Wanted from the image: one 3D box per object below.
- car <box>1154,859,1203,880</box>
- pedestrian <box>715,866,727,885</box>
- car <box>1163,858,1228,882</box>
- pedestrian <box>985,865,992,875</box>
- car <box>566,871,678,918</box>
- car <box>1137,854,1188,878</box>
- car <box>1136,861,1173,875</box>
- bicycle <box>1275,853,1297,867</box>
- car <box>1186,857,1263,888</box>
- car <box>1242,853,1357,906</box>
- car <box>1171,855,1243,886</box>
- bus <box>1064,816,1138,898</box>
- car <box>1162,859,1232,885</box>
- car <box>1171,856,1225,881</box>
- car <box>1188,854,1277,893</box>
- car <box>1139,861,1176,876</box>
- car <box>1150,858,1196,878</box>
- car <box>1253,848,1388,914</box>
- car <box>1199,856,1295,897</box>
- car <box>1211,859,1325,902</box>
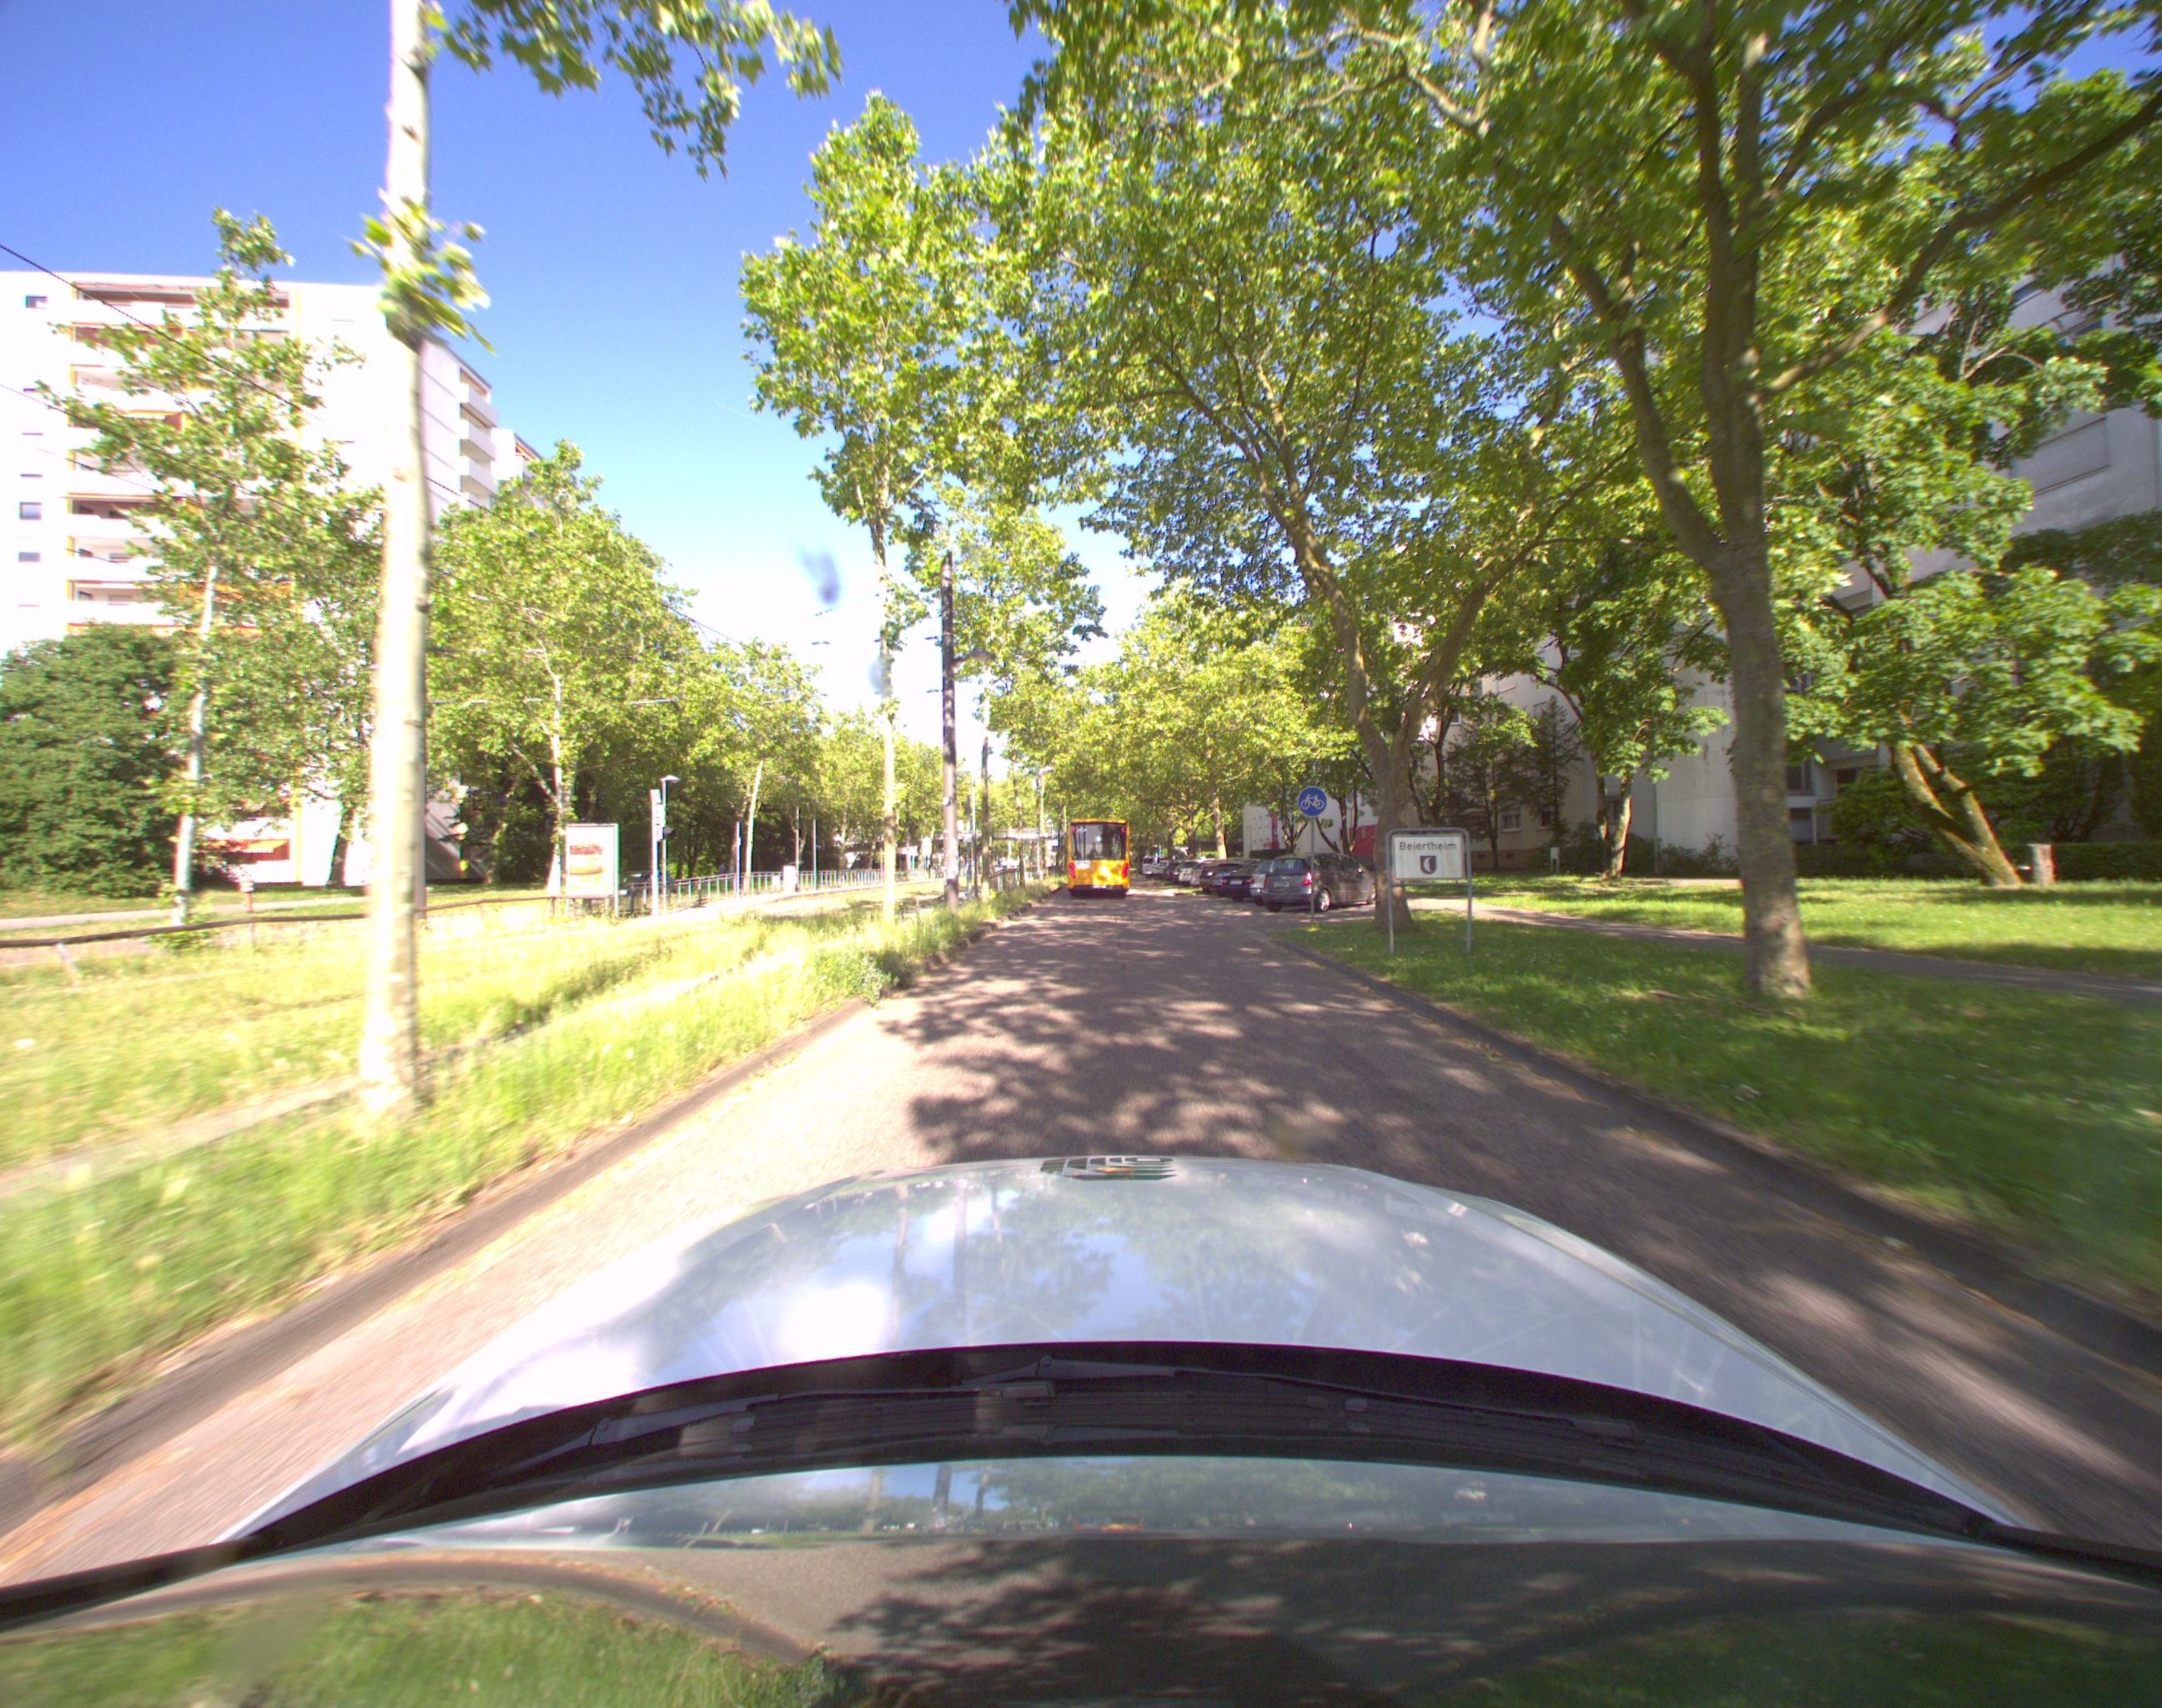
[{"bbox_3d":[8.097,1.258,67.361,1.777,1.510,4.237,-4,-1,44],"label":"car"},{"bbox_3d":[-31.186,1.834,70.554,0.645,1.661,0.650,-1,-1,2],"label":"pedestrian"},{"bbox_3d":[8.068,1.130,57.242,4.431,1.428,1.929,-3,-1,-38],"label":"car"},{"bbox_3d":[-11.748,1.967,103.074,0.775,1.238,0.722,-1,-1,0],"label":"pedestrian"},{"bbox_3d":[-17.500,1.510,31.310,1.787,1.608,4.269,-1,-1,2],"label":"car"},{"bbox_3d":[7.737,1.114,76.718,4.613,2.052,1.994,-3,-1,-39],"label":"car"},{"bbox_3d":[8.670,1.645,96.166,4.278,1.462,1.779,-3,-1,-39],"label":"car"},{"bbox_3d":[19.066,0.546,75.756,1.791,1.129,0.549,-4,-1,-4],"label":"bicycle"},{"bbox_3d":[7.517,0.947,42.461,4.021,1.444,1.779,-2,-1,-40],"label":"car"},{"bbox_3d":[7.006,0.785,26.009,3.603,1.492,1.779,-2,-1,-41],"label":"car"},{"bbox_3d":[7.228,0.922,46.549,4.020,1.576,1.779,-2,-1,-39],"label":"car"},{"bbox_3d":[0.861,0.204,38.712,2.890,3.267,12.217,-1,-1,1],"label":"bus"},{"bbox_3d":[7.275,1.111,50.835,4.617,1.423,1.778,-2,-1,-44],"label":"car"},{"bbox_3d":[8.794,1.085,61.100,4.022,1.589,1.778,-2,-1,-42],"label":"car"},{"bbox_3d":[6.733,0.851,35.885,1.777,1.510,4.202,-3,-1,44],"label":"car"},{"bbox_3d":[8.489,1.582,89.954,4.022,1.468,1.761,-2,-1,-42],"label":"car"},{"bbox_3d":[8.368,1.274,73.708,4.080,1.580,1.810,-2,-1,-42],"label":"car"},{"bbox_3d":[6.693,0.708,22.606,3.746,1.593,1.779,-2,-1,-40],"label":"car"},{"bbox_3d":[6.709,0.879,32.723,3.910,1.446,1.778,-2,-1,-43],"label":"car"},{"bbox_3d":[6.757,0.912,29.187,4.168,1.318,1.779,-2,-1,-39],"label":"car"}]
